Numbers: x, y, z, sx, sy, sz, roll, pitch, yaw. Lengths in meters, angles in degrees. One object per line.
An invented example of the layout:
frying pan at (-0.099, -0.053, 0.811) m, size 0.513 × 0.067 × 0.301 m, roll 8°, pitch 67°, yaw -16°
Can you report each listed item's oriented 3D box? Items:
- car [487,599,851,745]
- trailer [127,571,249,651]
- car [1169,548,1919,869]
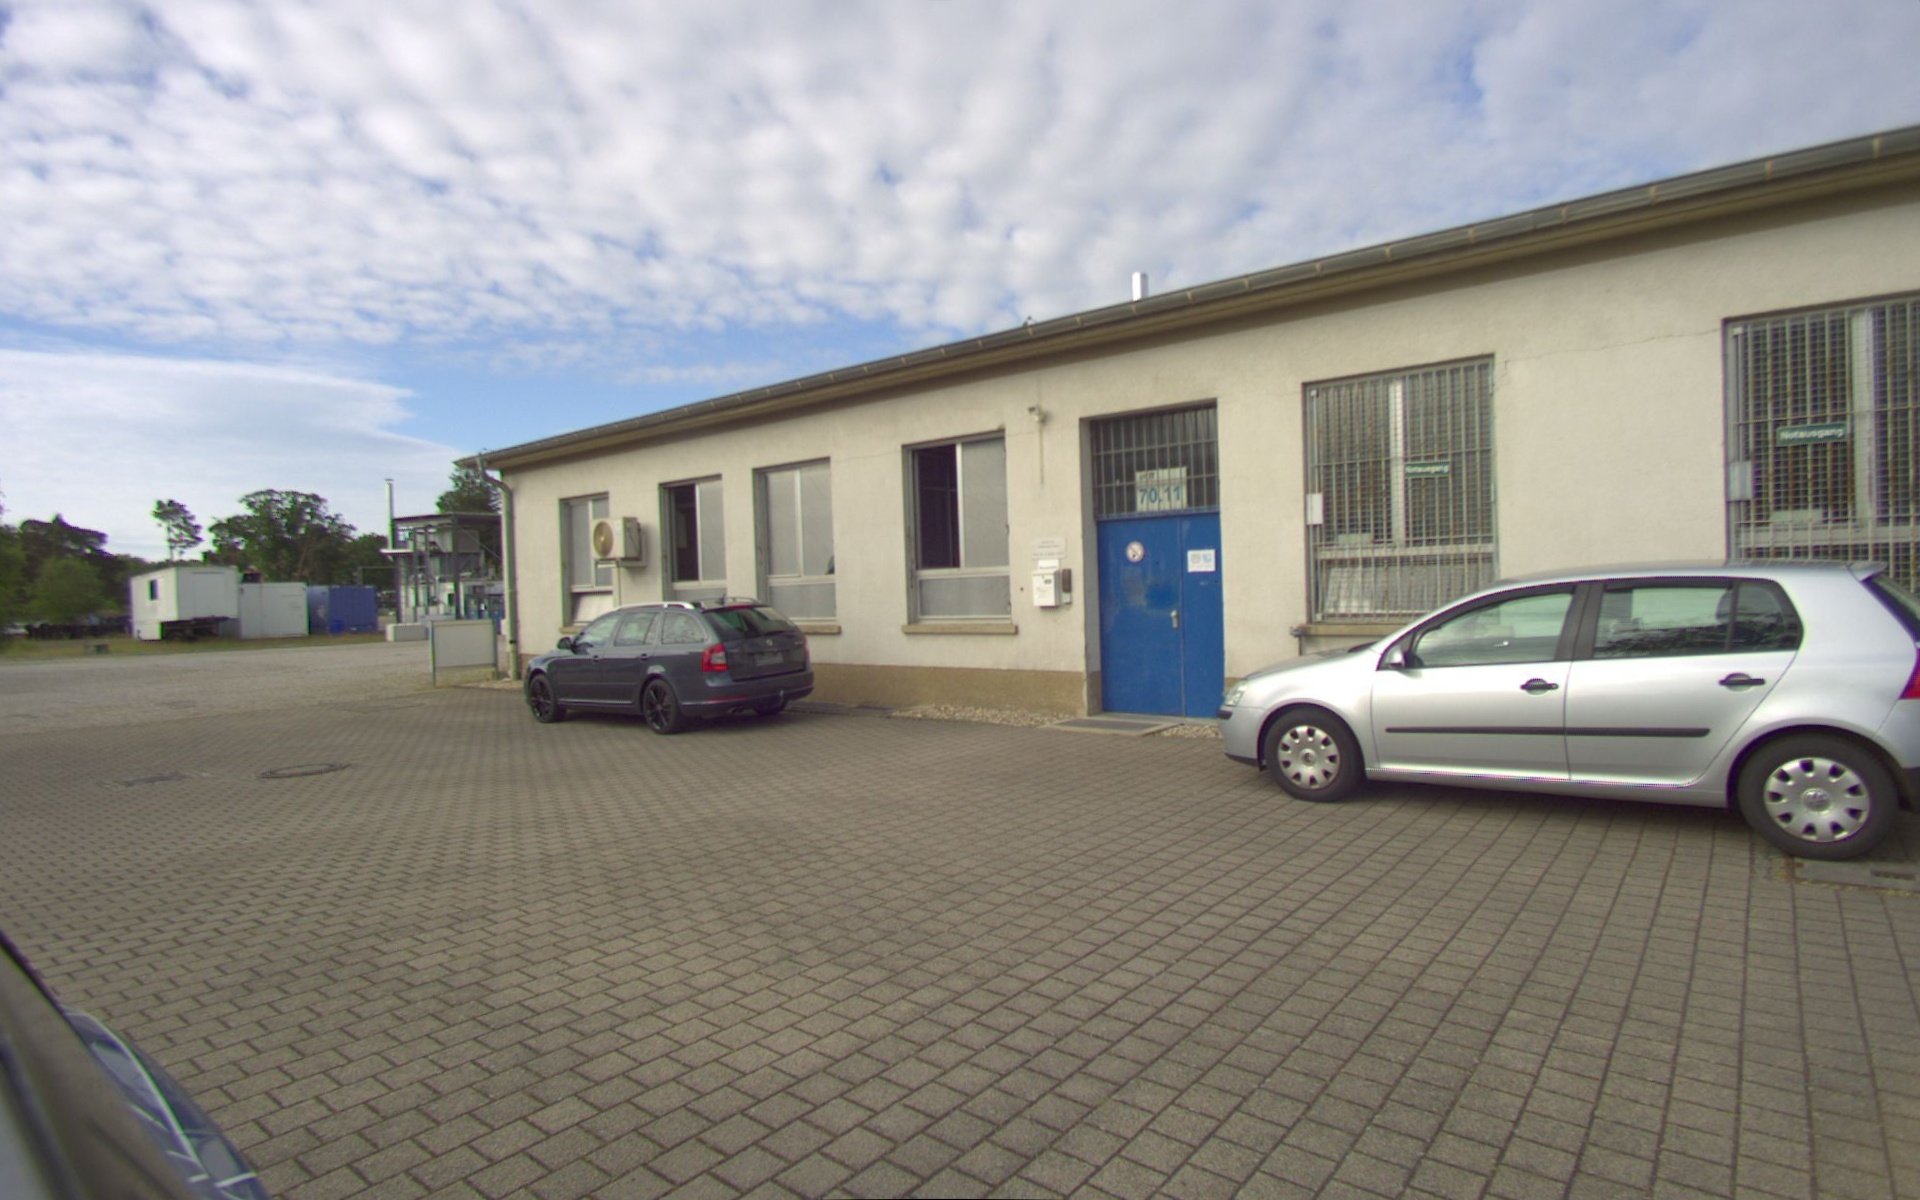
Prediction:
car at (-3.780, 0.811, 12.685) m, size 4.804 × 1.472 × 1.906 m, roll -2°, pitch 0°, yaw 38°
trailer at (-39.299, 0.623, 51.313) m, size 10.772 × 3.690 × 2.839 m, roll -2°, pitch 0°, yaw 41°
car at (3.777, 0.520, 6.433) m, size 4.362 × 1.449 × 1.907 m, roll -2°, pitch 2°, yaw 38°
